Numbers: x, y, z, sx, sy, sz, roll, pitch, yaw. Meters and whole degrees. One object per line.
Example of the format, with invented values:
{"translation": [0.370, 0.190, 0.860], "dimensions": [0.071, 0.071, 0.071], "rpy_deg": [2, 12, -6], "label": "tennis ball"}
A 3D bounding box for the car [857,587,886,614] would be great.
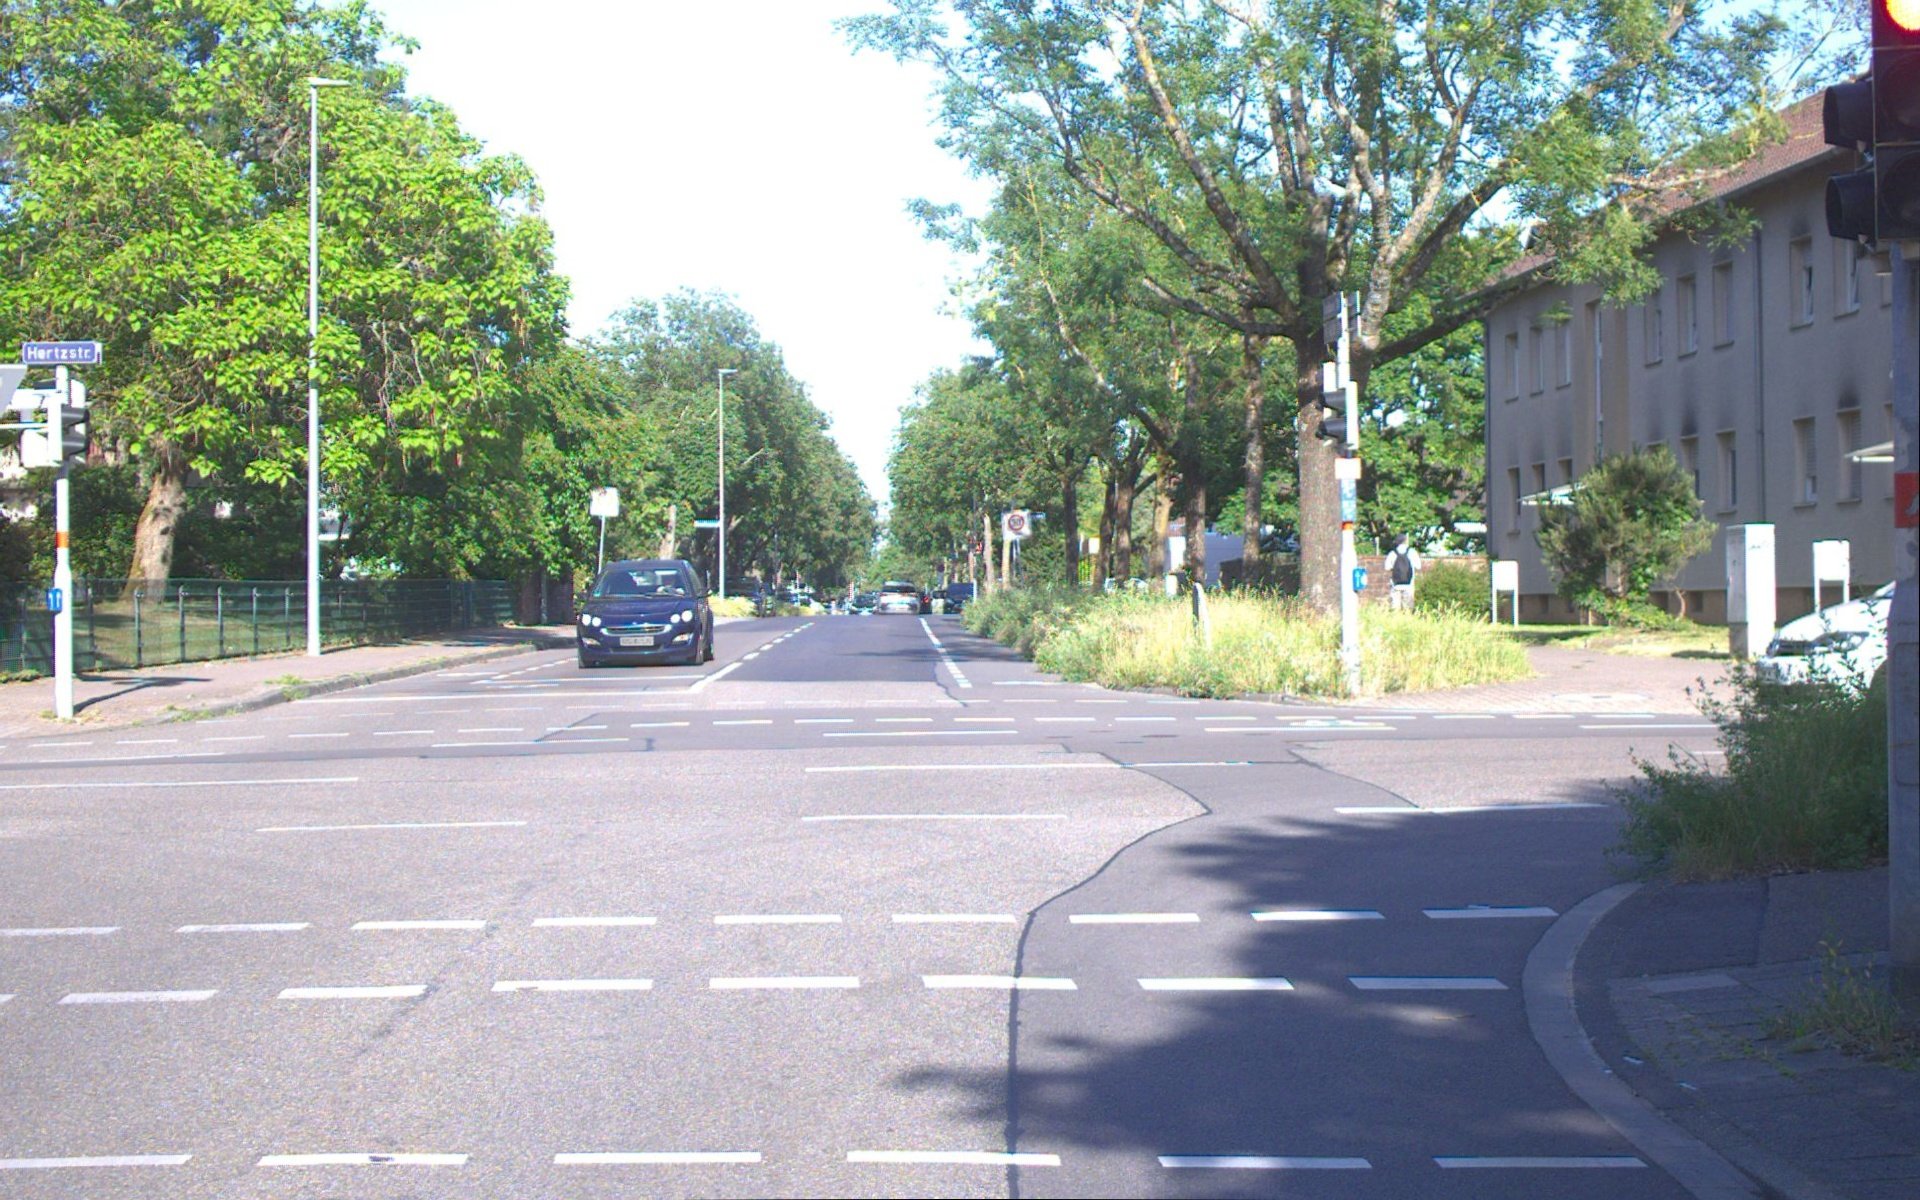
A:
{"translation": [-5.704, 0.032, 221.058], "dimensions": [1.758, 1.619, 3.268], "rpy_deg": [0, 1, 0], "label": "car"}

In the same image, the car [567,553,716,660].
{"translation": [-4.364, 0.065, 47.504], "dimensions": [1.711, 1.381, 3.471], "rpy_deg": [0, 1, 0], "label": "car"}

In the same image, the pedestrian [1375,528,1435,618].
{"translation": [7.531, -0.457, 58.252], "dimensions": [0.842, 1.488, 0.924], "rpy_deg": [2, 1, -1], "label": "pedestrian"}

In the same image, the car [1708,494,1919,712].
{"translation": [7.861, 0.032, 25.679], "dimensions": [4.106, 1.558, 1.758], "rpy_deg": [1, 0, -3], "label": "car"}

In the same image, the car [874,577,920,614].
{"translation": [-2.615, -0.183, 142.701], "dimensions": [1.844, 1.456, 3.530], "rpy_deg": [0, 1, -1], "label": "car"}
